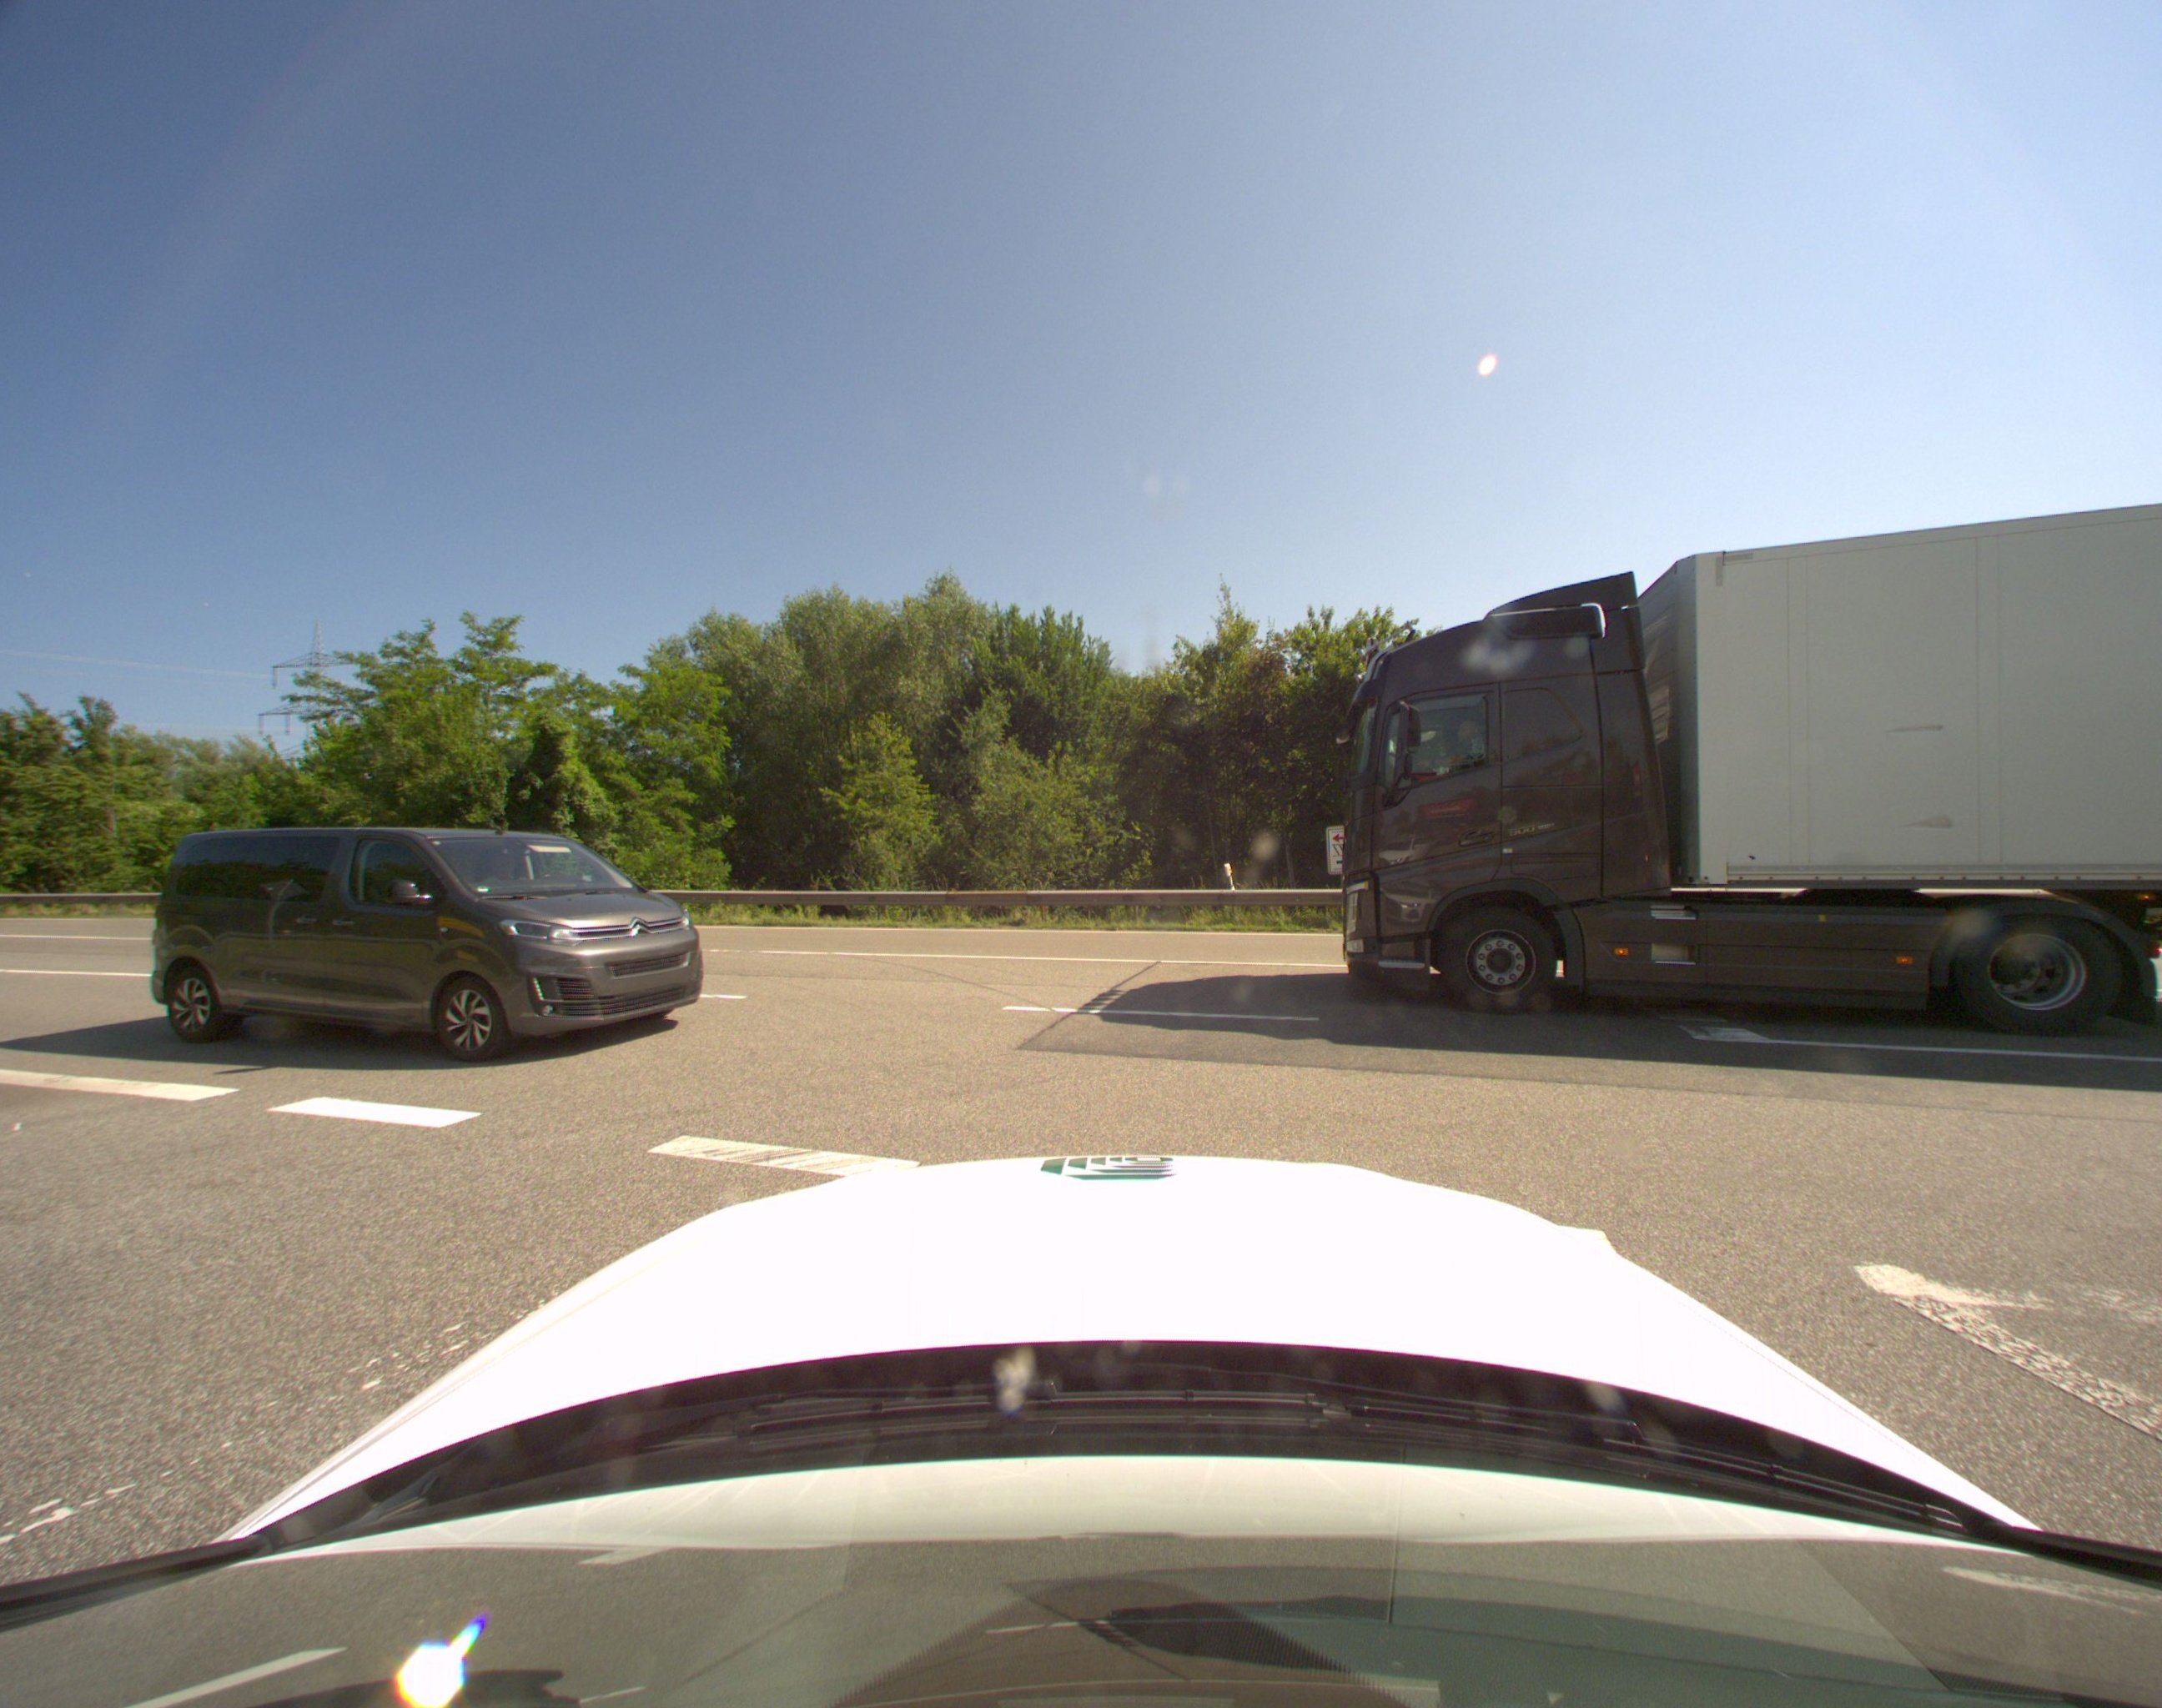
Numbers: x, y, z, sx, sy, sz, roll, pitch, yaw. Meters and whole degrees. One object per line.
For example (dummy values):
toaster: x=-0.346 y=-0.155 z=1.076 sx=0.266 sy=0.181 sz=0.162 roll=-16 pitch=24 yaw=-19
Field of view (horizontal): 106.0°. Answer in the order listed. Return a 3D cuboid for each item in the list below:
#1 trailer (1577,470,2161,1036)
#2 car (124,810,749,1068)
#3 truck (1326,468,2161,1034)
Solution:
trailer: x=12.044 y=-0.825 z=6.156 sx=13.820 sy=4.165 sz=2.911 roll=-1 pitch=0 yaw=19
car: x=-5.881 y=0.659 z=7.563 sx=4.939 sy=1.879 sz=2.009 roll=-1 pitch=0 yaw=16
truck: x=5.660 y=-0.747 z=8.303 sx=5.903 sy=4.173 sz=2.894 roll=-1 pitch=0 yaw=18
